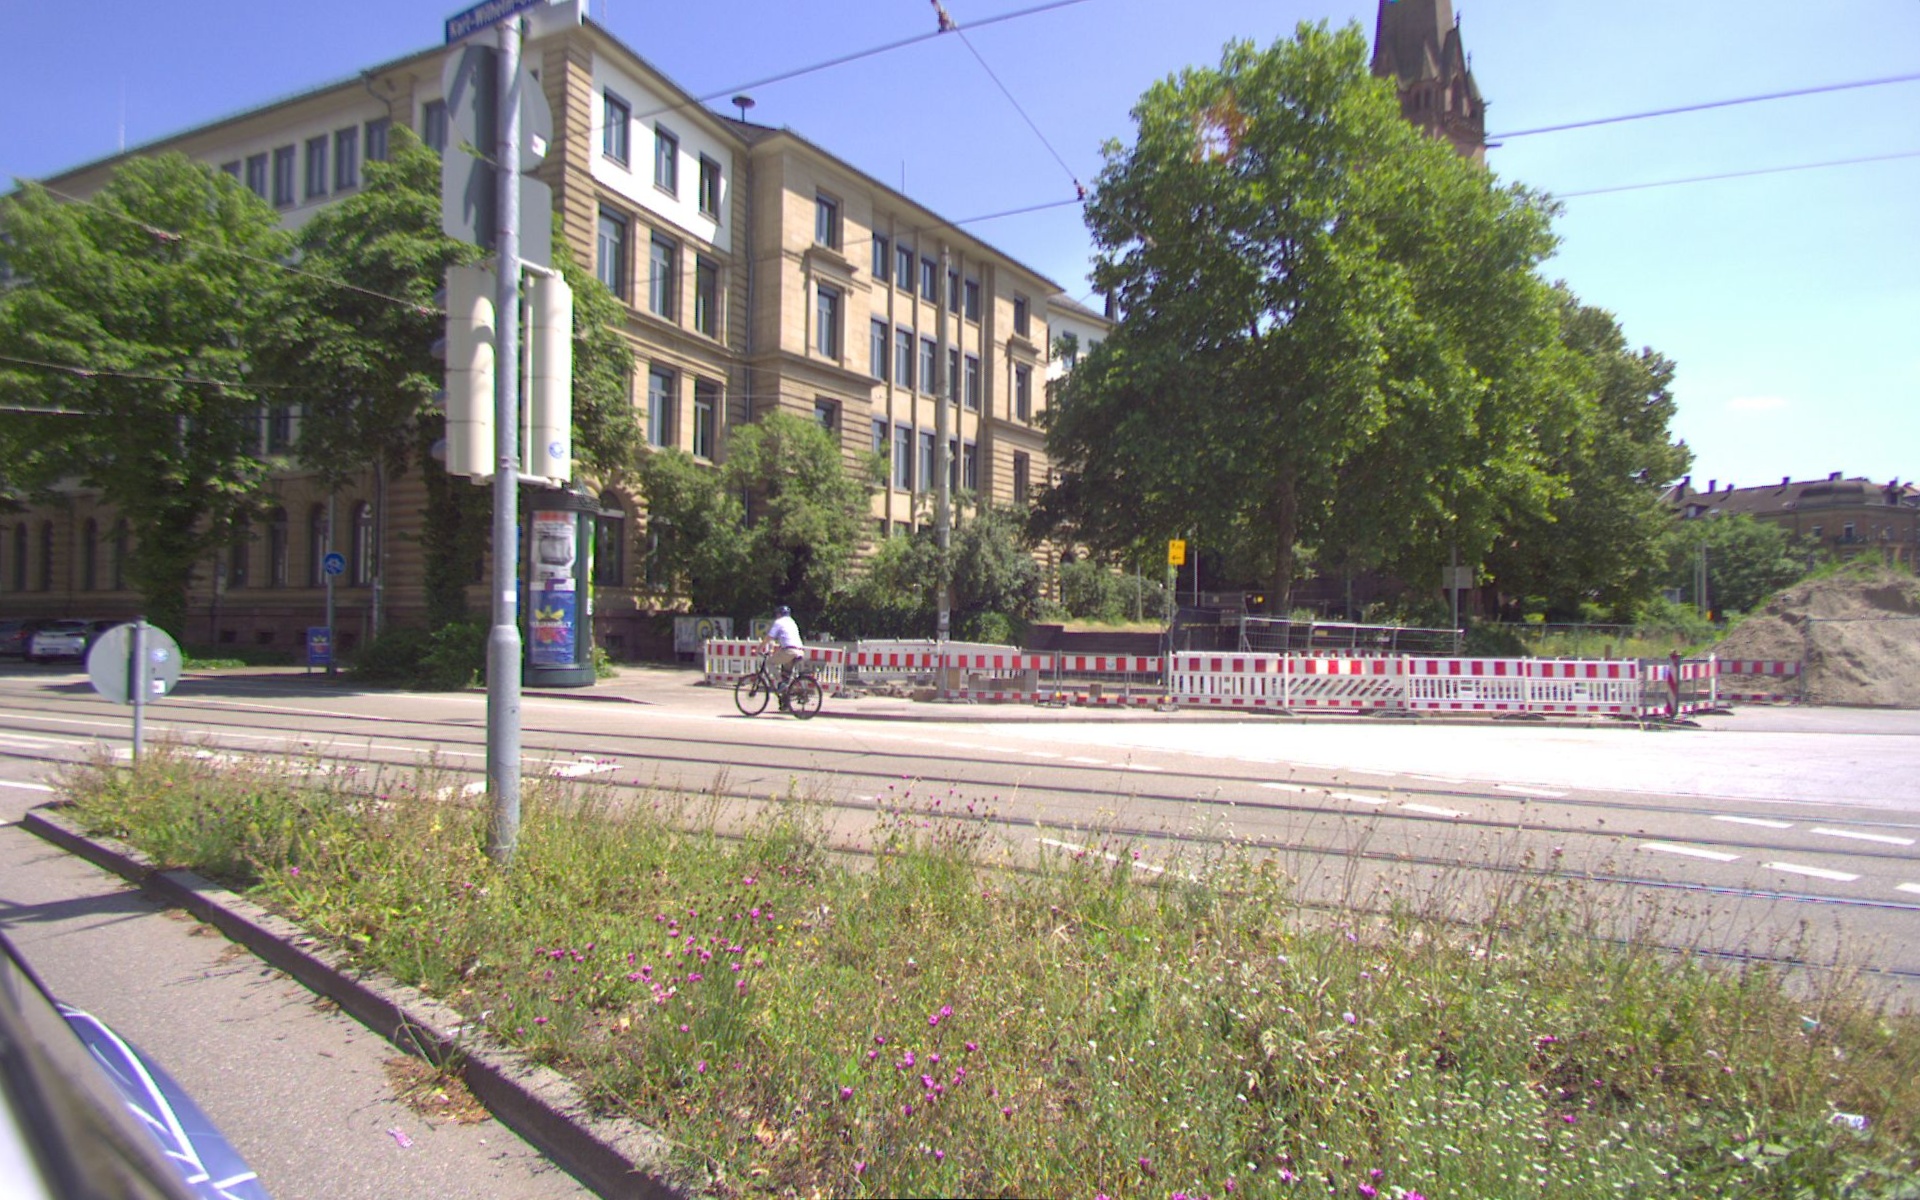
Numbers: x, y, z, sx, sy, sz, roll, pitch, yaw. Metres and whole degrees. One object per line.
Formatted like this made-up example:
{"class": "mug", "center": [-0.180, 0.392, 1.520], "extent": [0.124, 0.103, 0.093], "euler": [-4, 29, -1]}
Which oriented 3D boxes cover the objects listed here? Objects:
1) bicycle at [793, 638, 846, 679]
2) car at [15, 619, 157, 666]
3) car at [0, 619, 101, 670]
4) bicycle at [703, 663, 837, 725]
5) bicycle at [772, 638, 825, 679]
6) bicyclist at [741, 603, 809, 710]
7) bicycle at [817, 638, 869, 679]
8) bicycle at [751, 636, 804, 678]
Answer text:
{"class": "bicycle", "center": [-3.973, 1.643, 28.684], "extent": [0.502, 1.111, 1.720], "euler": [-1, -2, 31]}
{"class": "car", "center": [-28.111, 1.343, 32.707], "extent": [1.676, 1.416, 3.552], "euler": [0, -1, -4]}
{"class": "car", "center": [-30.862, 1.446, 33.673], "extent": [1.644, 1.531, 3.680], "euler": [0, 0, -4]}
{"class": "bicycle", "center": [-3.179, 1.532, 16.819], "extent": [2.358, 0.921, 0.500], "euler": [-1, -2, 26]}
{"class": "bicycle", "center": [-4.615, 1.665, 29.074], "extent": [0.502, 1.111, 1.720], "euler": [-1, -2, 31]}
{"class": "bicyclist", "center": [-3.065, 0.916, 16.772], "extent": [0.766, 1.723, 0.816], "euler": [-1, -2, 26]}
{"class": "bicycle", "center": [-3.255, 1.620, 28.264], "extent": [0.502, 1.111, 1.720], "euler": [-1, -2, 31]}
{"class": "bicycle", "center": [-5.300, 1.645, 29.437], "extent": [0.462, 1.156, 1.668], "euler": [0, -1, 34]}
